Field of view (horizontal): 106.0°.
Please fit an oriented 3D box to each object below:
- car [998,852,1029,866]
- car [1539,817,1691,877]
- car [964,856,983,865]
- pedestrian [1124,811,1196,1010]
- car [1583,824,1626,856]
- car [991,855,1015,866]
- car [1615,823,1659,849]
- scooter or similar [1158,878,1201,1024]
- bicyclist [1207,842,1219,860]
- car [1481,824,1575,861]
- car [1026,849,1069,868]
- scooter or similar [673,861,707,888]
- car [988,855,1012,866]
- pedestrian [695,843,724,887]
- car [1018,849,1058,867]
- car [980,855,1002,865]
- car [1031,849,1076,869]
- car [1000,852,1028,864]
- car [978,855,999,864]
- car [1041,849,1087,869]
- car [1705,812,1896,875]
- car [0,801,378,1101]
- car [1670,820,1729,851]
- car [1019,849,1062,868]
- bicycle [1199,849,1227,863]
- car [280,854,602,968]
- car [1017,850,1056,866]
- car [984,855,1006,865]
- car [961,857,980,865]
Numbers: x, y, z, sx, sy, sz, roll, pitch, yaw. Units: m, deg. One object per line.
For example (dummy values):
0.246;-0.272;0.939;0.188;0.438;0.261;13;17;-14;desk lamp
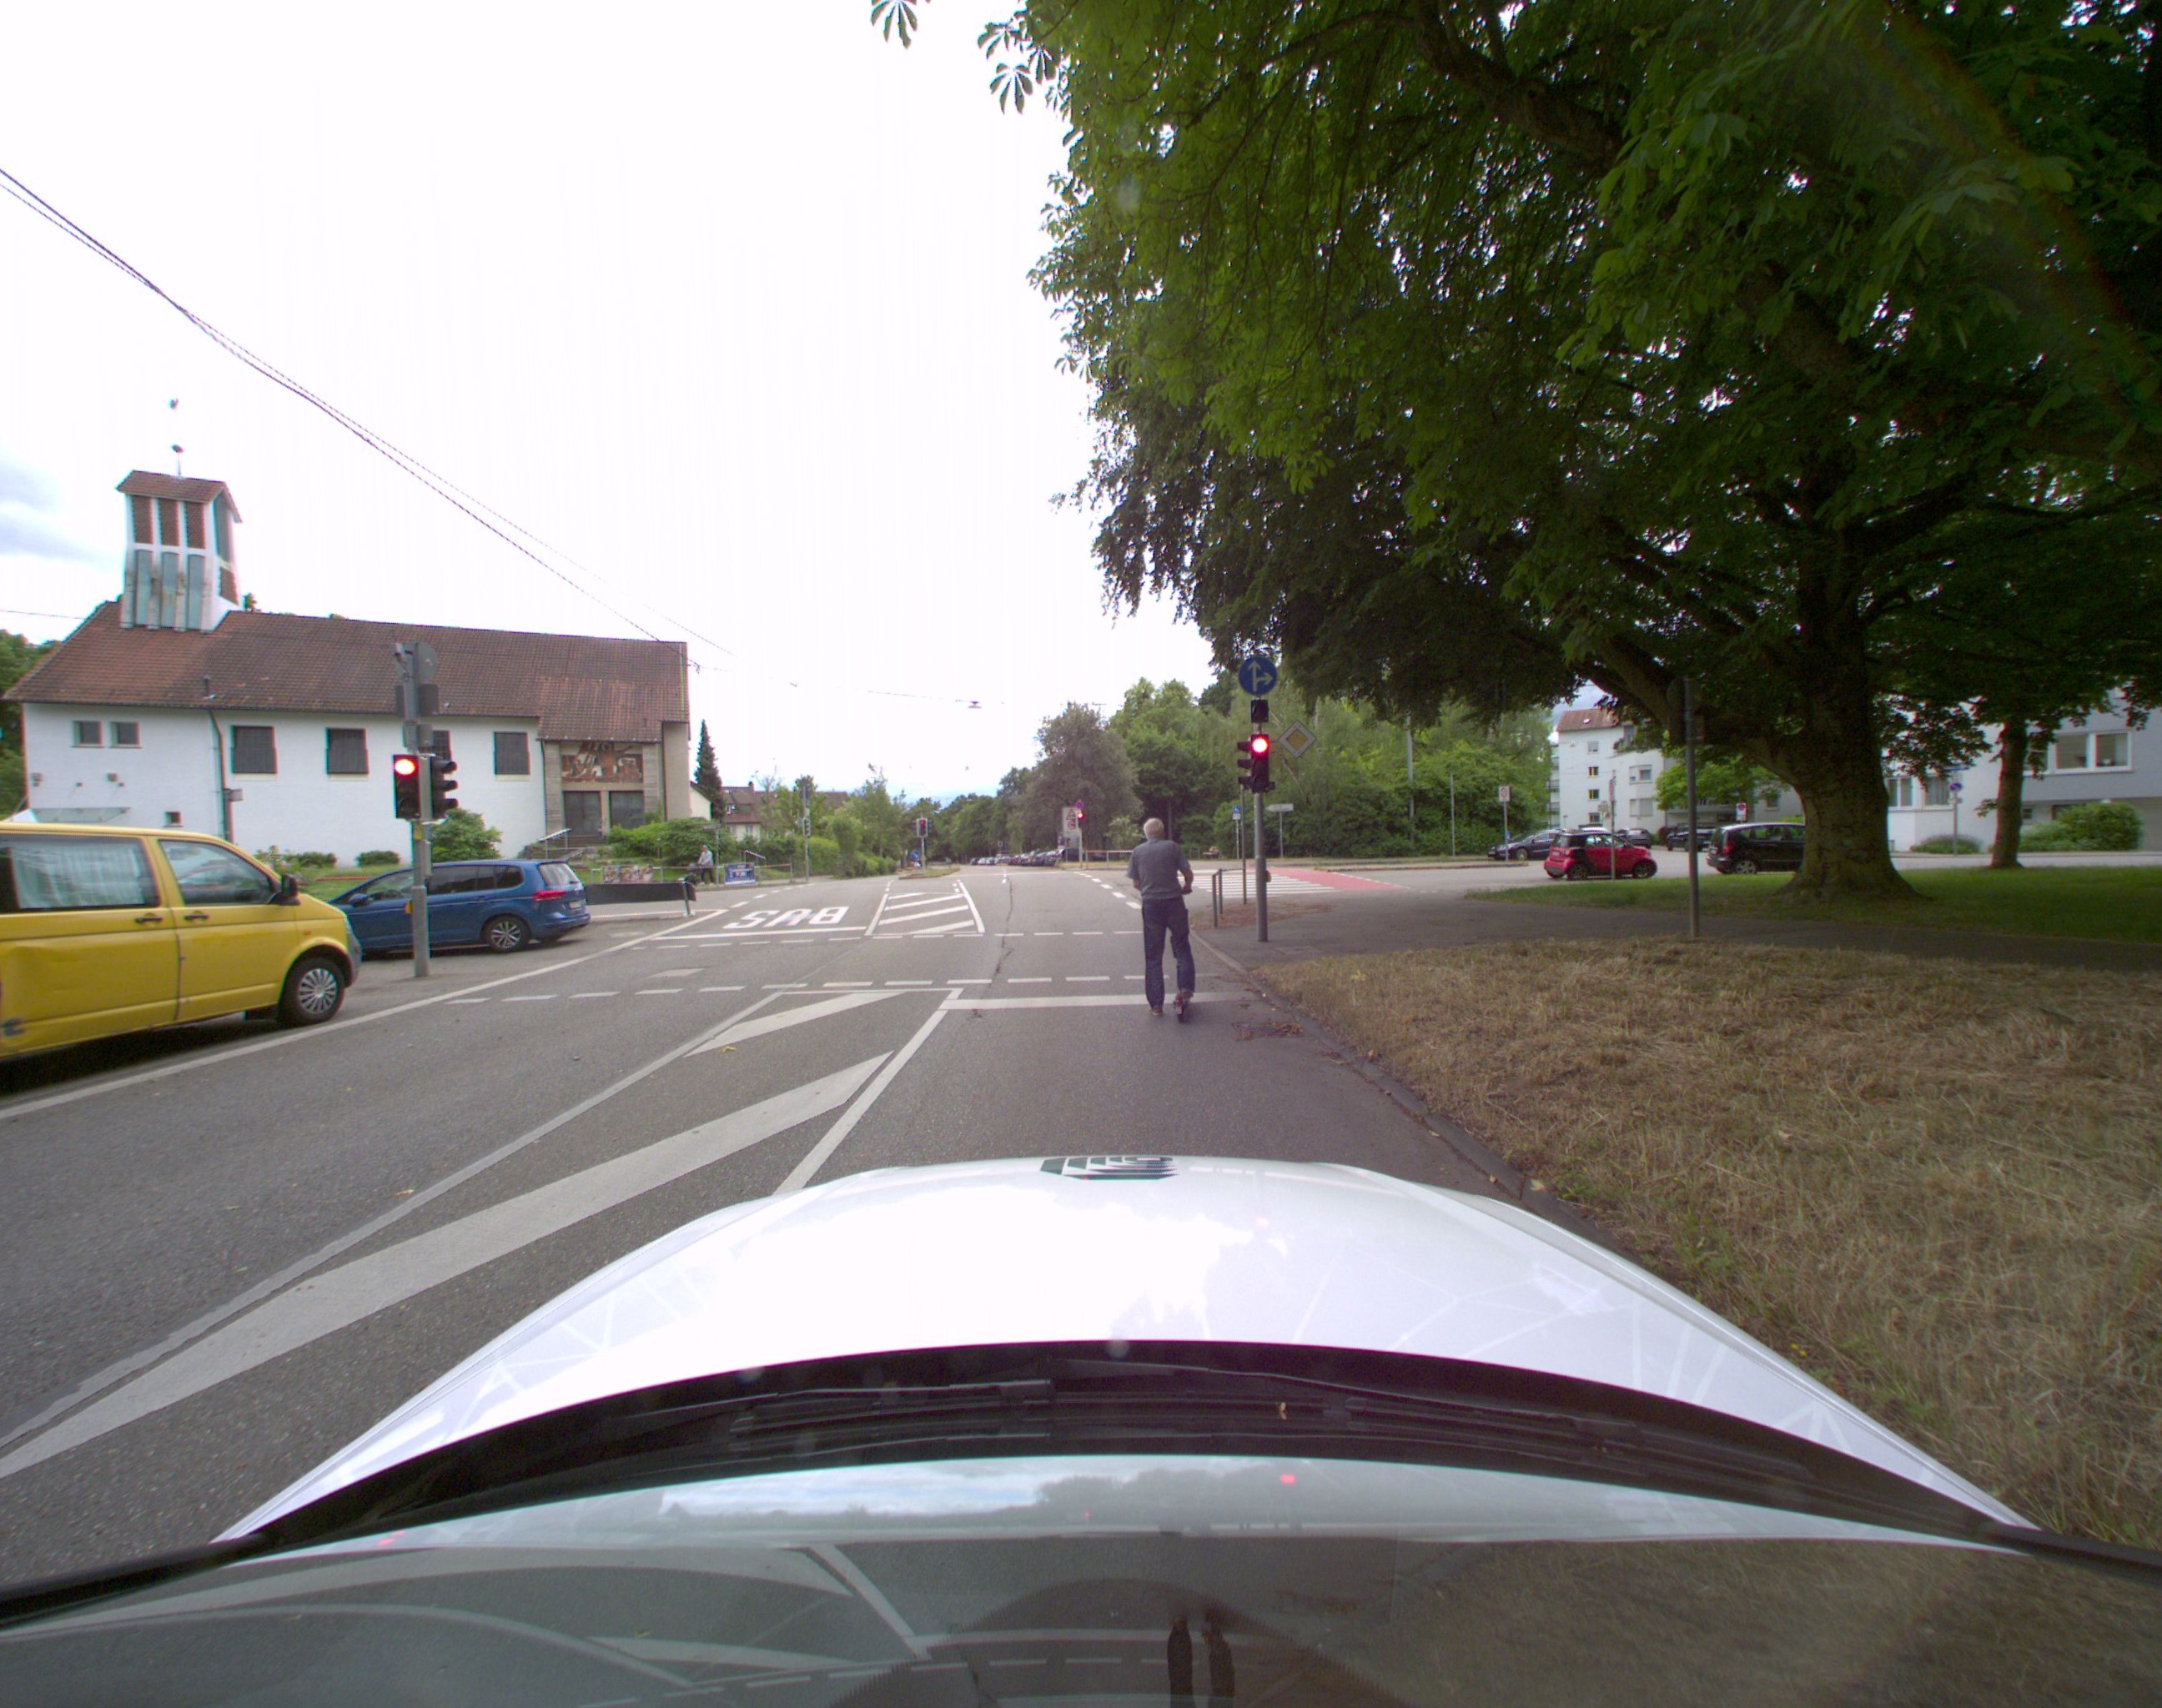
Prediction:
-9.042;0.676;109.348;3.856;1.610;1.716;-3;0;-21;car
16.525;-0.208;25.353;3.499;1.610;1.732;-3;0;7;car
-23.302;1.438;176.446;3.856;1.610;1.716;-3;0;-21;car
0.753;0.521;7.671;0.569;1.813;0.421;-2;0;10;pedestrian
28.788;-0.788;44.887;1.706;1.610;3.878;-3;1;30;car
-13.378;1.128;139.638;3.856;1.610;1.716;-3;0;-21;car
38.958;-1.277;57.130;1.707;1.610;3.875;-3;1;22;car
0.916;0.842;7.491;0.280;1.178;1.180;-2;0;10;scooter or similar
9.253;-0.183;57.246;0.678;1.248;0.491;0;0;-17;bicyclist
21.112;-0.560;38.597;3.498;1.530;1.732;-3;0;8;car
-3.272;0.470;79.564;3.856;1.610;1.716;-3;0;-21;car
-16.296;0.853;33.928;0.570;1.081;1.118;-2;0;24;scooter or similar
-14.317;1.136;143.338;3.856;1.610;1.716;-3;0;-21;car
-15.894;0.460;34.856;0.567;1.862;0.892;-2;0;25;pedestrian
-4.593;0.421;86.950;3.856;1.610;1.716;-3;0;-21;car
-17.310;1.126;156.858;3.856;1.610;1.716;-3;0;-21;car
-2.585;0.460;77.004;3.857;1.610;1.715;-3;1;-22;car
-10.114;0.628;122.352;3.856;1.610;1.716;-3;0;-21;car
-18.135;1.132;159.450;3.856;1.610;1.716;-3;0;-21;car
-1.576;0.432;75.008;3.854;1.610;1.717;-3;0;-19;car
20.832;-0.296;23.796;3.805;1.610;1.739;-3;1;27;car
-8.301;0.683;6.338;1.880;2.013;4.558;-2;0;-5;car
35.571;-1.069;46.920;1.707;1.610;3.875;-3;1;22;car
-4.042;0.445;81.619;3.856;1.610;1.716;-3;0;-21;car
9.293;0.128;57.255;1.924;0.959;0.491;0;0;-18;bicycle
-11.065;0.916;14.423;3.992;1.610;1.810;-3;0;-14;car
-4.925;0.428;89.372;3.856;1.610;1.716;-3;0;-21;car
-16.332;1.164;154.700;3.856;1.610;1.716;-3;0;-21;car
-24.216;1.529;178.806;3.856;1.610;1.716;-3;0;-21;car
